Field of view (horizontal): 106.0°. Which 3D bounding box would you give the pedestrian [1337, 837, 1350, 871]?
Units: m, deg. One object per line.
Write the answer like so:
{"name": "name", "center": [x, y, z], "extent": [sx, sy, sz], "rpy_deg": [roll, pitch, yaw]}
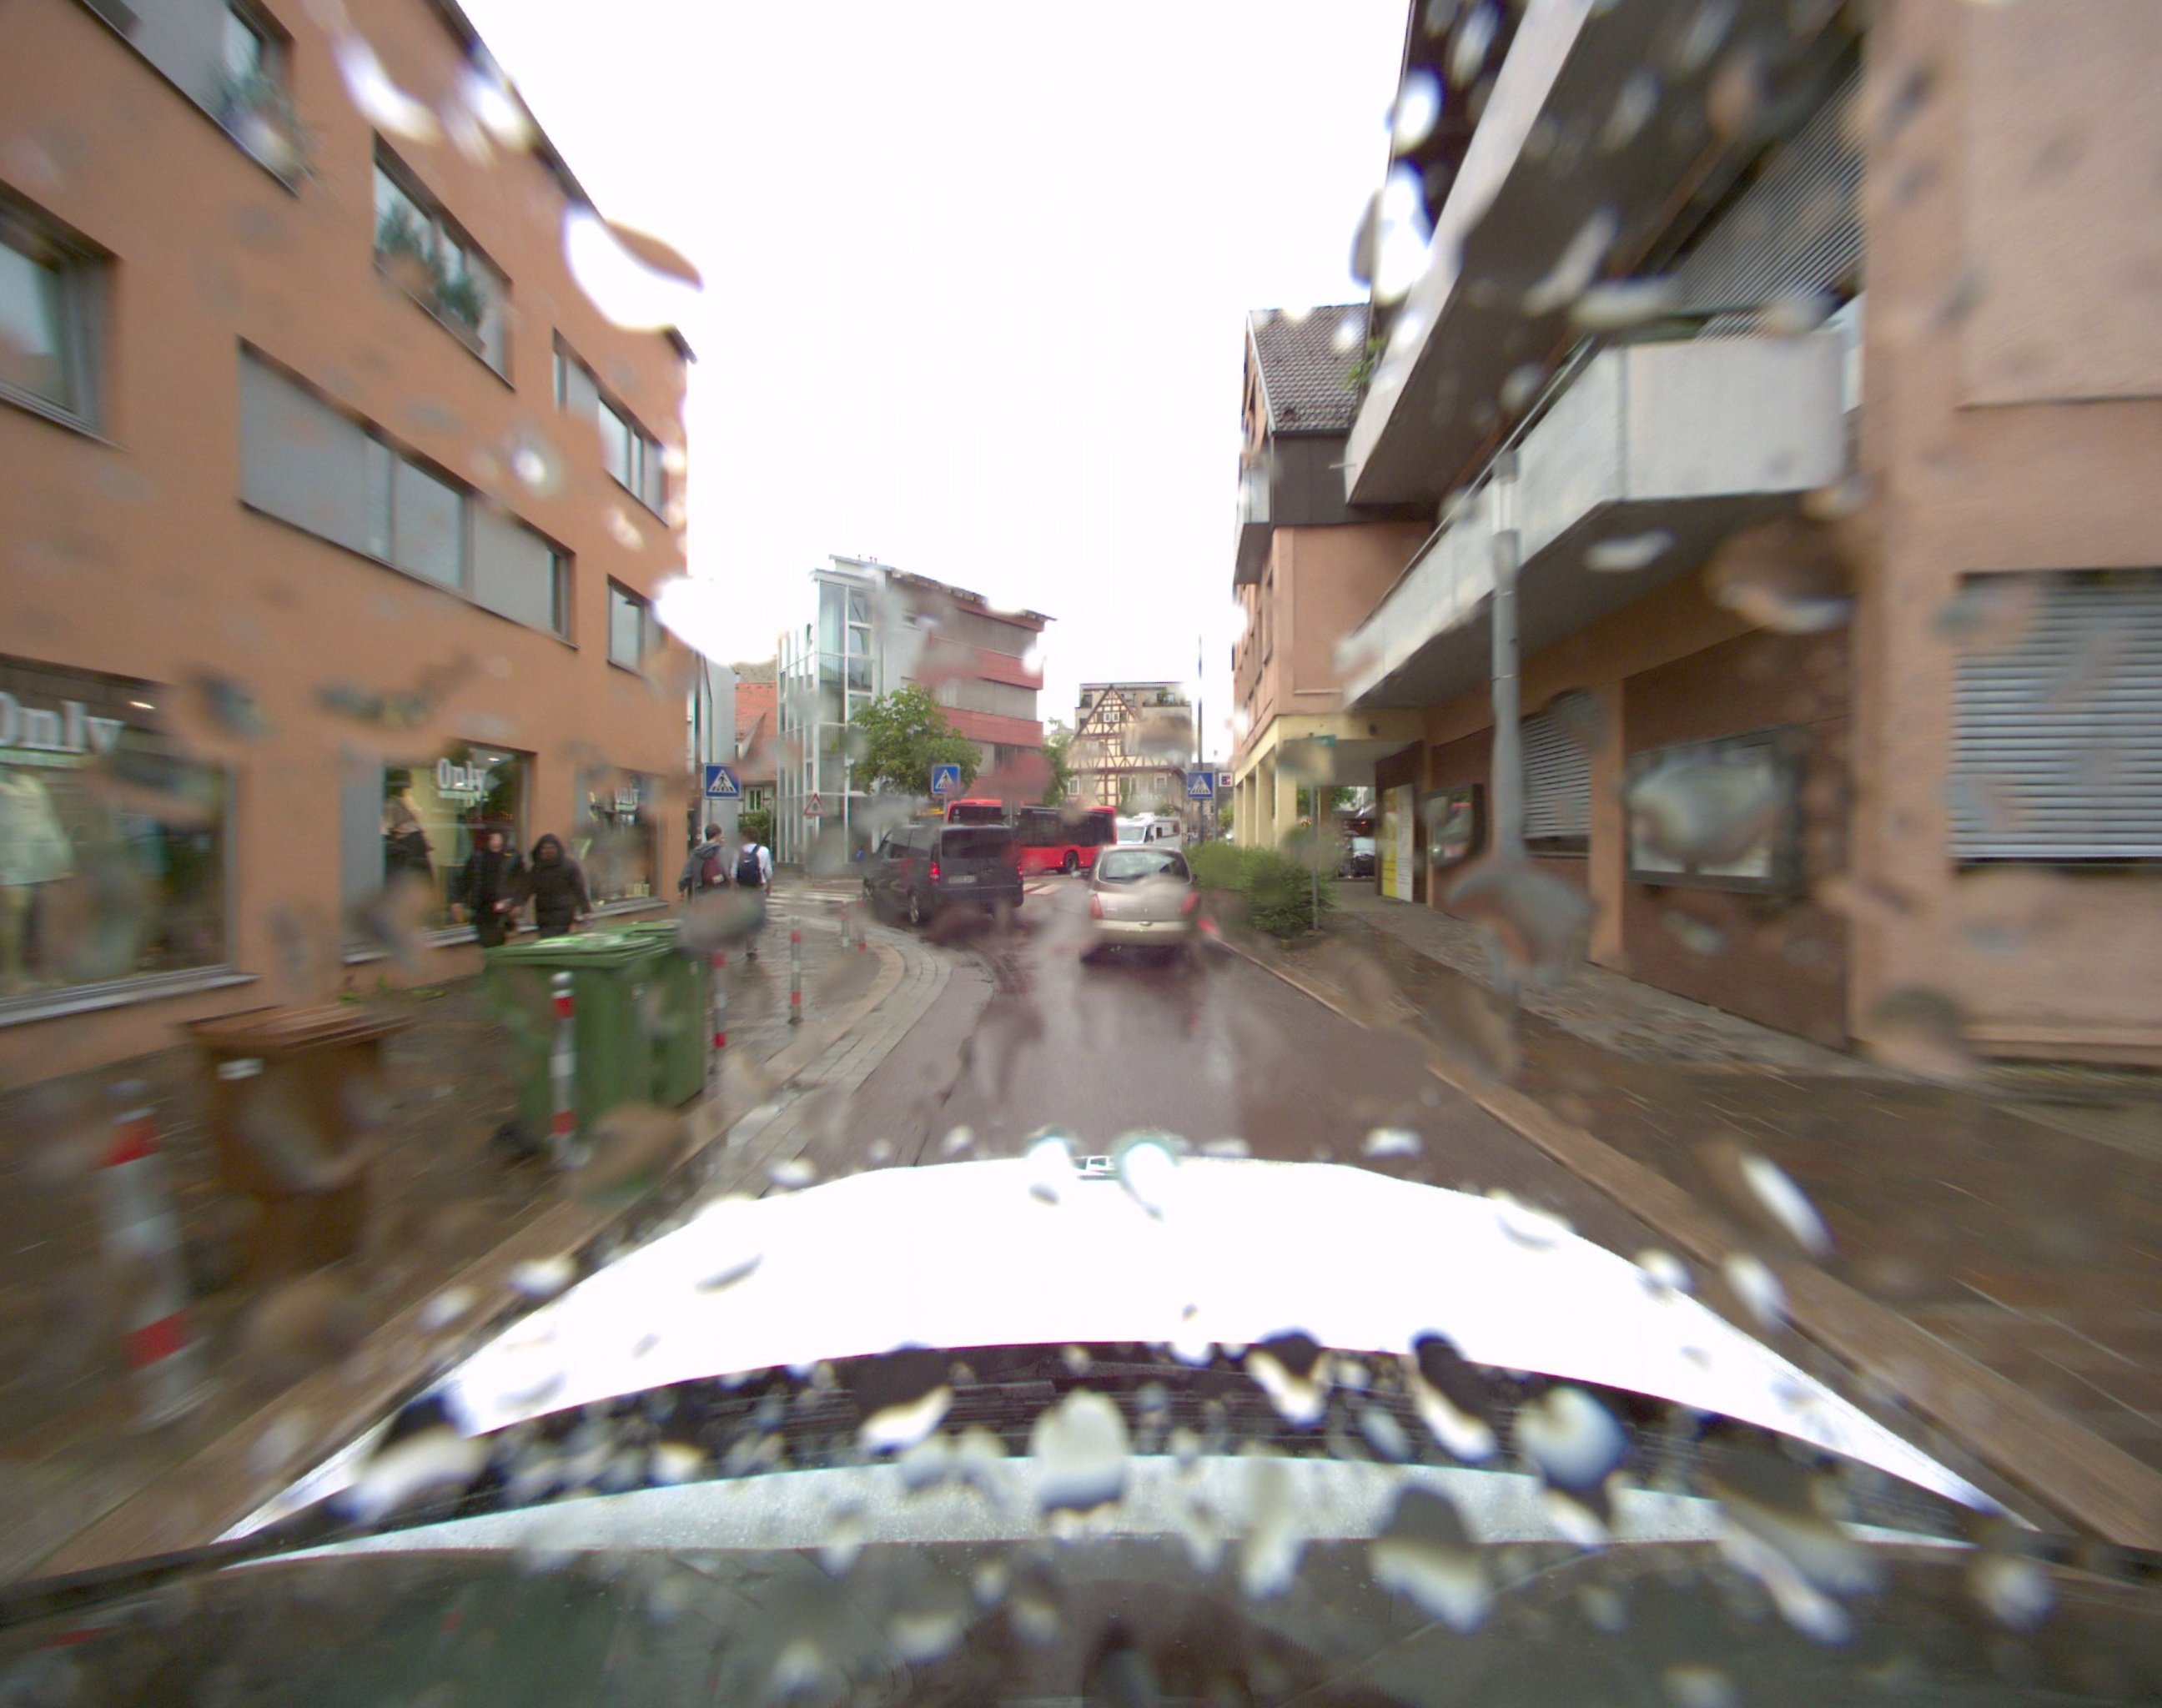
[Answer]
{"name": "pedestrian", "center": [11.707, -0.019, 36.321], "extent": [0.493, 1.508, 0.493], "rpy_deg": [0, 0, 14]}

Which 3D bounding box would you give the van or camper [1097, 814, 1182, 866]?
{"name": "van or camper", "center": [3.327, -0.771, 44.339], "extent": [2.416, 2.585, 6.790], "rpy_deg": [1, 1, 25]}

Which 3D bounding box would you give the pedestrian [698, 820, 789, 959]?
{"name": "pedestrian", "center": [-4.589, 0.459, 11.140], "extent": [0.659, 1.806, 1.064], "rpy_deg": [0, 0, 10]}

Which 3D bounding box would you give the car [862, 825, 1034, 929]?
{"name": "car", "center": [-2.841, 0.348, 16.430], "extent": [1.958, 1.780, 4.682], "rpy_deg": [-1, 1, -29]}

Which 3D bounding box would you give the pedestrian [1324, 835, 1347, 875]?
{"name": "pedestrian", "center": [10.746, 0.039, 34.370], "extent": [0.689, 1.661, 0.826], "rpy_deg": [0, 0, 38]}

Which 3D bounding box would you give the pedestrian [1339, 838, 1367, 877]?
{"name": "pedestrian", "center": [11.612, 0.151, 34.750], "extent": [0.955, 1.639, 0.739], "rpy_deg": [0, 0, 39]}

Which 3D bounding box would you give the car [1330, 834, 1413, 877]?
{"name": "car", "center": [9.471, 0.018, 26.867], "extent": [1.752, 1.276, 4.482], "rpy_deg": [0, 1, 8]}

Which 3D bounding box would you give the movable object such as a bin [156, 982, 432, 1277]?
{"name": "movable object such as a bin", "center": [-2.937, 0.993, 3.076], "extent": [0.578, 0.927, 0.482], "rpy_deg": [0, 0, 5]}

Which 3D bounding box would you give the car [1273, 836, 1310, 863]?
{"name": "car", "center": [10.993, -0.261, 42.433], "extent": [1.524, 1.362, 3.390], "rpy_deg": [0, 1, 20]}

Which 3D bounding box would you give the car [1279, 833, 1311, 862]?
{"name": "car", "center": [12.313, -0.409, 47.012], "extent": [1.613, 1.500, 4.014], "rpy_deg": [-3, 1, 13]}

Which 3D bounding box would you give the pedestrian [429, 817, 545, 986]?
{"name": "pedestrian", "center": [-6.329, 0.485, 8.723], "extent": [0.621, 1.712, 0.808], "rpy_deg": [1, 0, -2]}

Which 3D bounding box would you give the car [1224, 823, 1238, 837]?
{"name": "car", "center": [18.460, -2.945, 100.003], "extent": [1.575, 1.712, 3.333], "rpy_deg": [0, 1, 13]}

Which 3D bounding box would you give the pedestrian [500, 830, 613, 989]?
{"name": "pedestrian", "center": [-5.650, 0.576, 8.821], "extent": [0.713, 1.639, 0.745], "rpy_deg": [1, 0, -2]}

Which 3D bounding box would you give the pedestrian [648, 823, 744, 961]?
{"name": "pedestrian", "center": [-5.268, 0.493, 11.197], "extent": [0.688, 1.800, 1.061], "rpy_deg": [0, 0, 10]}

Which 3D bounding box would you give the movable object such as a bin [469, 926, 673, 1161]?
{"name": "movable object such as a bin", "center": [-2.564, 0.922, 4.159], "extent": [0.655, 1.036, 0.609], "rpy_deg": [0, 0, -4]}

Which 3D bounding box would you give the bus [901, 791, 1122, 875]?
{"name": "bus", "center": [-2.561, -0.891, 35.098], "extent": [2.786, 3.088, 10.675], "rpy_deg": [0, 1, 39]}

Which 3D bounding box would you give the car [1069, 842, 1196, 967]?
{"name": "car", "center": [0.653, 0.582, 11.505], "extent": [1.517, 1.470, 3.342], "rpy_deg": [-1, 1, 1]}

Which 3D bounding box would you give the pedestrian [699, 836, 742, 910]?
{"name": "pedestrian", "center": [-7.930, 0.405, 17.918], "extent": [0.658, 1.610, 0.683], "rpy_deg": [0, 1, -5]}

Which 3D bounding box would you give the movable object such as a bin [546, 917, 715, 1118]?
{"name": "movable object such as a bin", "center": [-2.632, 0.926, 4.820], "extent": [0.655, 1.036, 0.609], "rpy_deg": [-1, 1, -4]}
